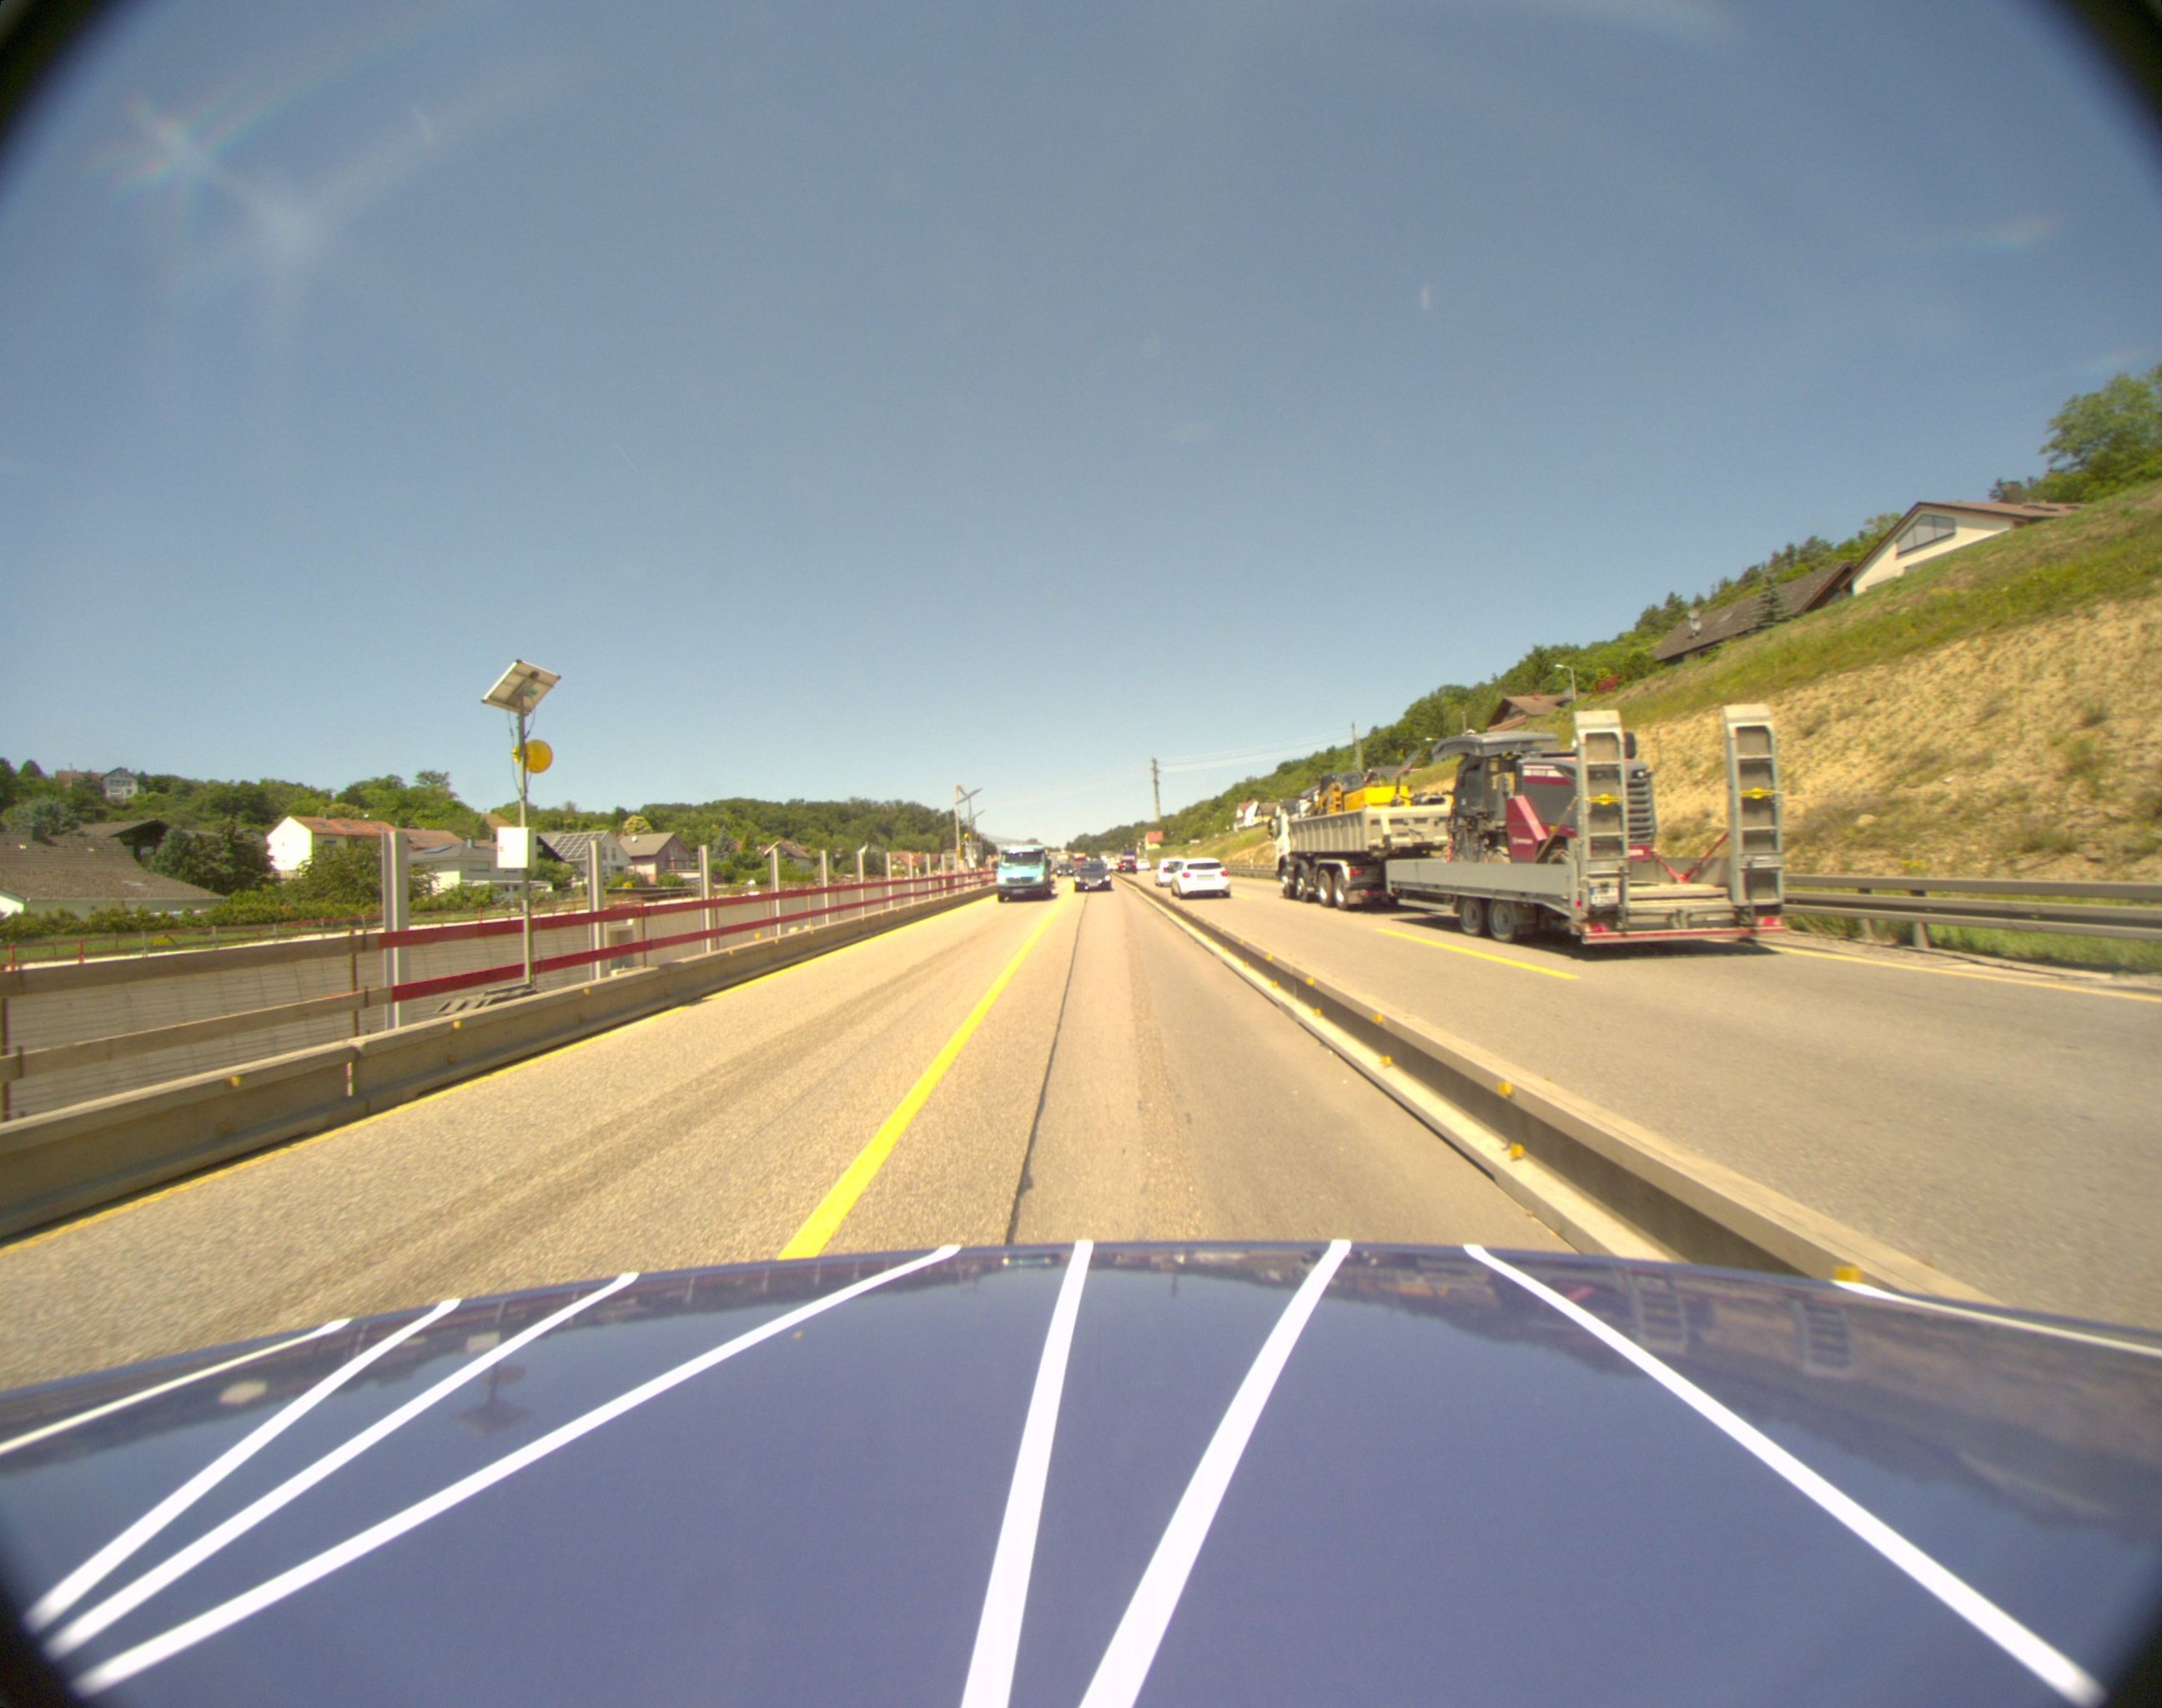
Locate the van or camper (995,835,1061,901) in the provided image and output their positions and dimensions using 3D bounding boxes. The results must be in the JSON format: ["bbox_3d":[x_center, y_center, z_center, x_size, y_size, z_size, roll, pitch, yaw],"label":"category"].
[{"bbox_3d":[-2.165,0.597,33.325,2.097,2.458,7.673,-2,-1,1],"label":"van or camper"}]

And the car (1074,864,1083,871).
[{"bbox_3d":[-0.438,2.689,154.048,1.679,1.346,3.487,-4,-1,1],"label":"car"}]

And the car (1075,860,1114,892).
[{"bbox_3d":[0.657,1.019,36.859,1.746,1.420,4.001,-2,-1,1],"label":"car"}]

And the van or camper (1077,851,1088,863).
[{"bbox_3d":[0.306,0.761,176.399,2.321,2.512,4.528,-4,-1,1],"label":"van or camper"}]

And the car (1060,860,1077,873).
[{"bbox_3d":[-1.336,1.270,79.733,1.611,1.324,3.497,-1,-1,1],"label":"car"}]

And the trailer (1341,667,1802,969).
[{"bbox_3d":[7.572,-0.420,13.861,2.593,3.615,9.079,-2,0,1],"label":"trailer"}]

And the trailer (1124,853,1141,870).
[{"bbox_3d":[6.250,0.895,93.137,1.651,2.013,4.270,-2,0,-1],"label":"trailer"}]

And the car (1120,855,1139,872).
[{"bbox_3d":[5.201,0.977,81.725,1.895,1.698,4.562,-2,0,2],"label":"car"}]

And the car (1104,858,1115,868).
[{"bbox_3d":[5.345,1.724,143.847,1.895,1.698,4.561,-3,0,0],"label":"car"}]

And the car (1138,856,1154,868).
[{"bbox_3d":[9.370,1.132,109.824,1.904,1.575,4.514,-3,0,0],"label":"car"}]

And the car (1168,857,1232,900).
[{"bbox_3d":[4.299,0.853,28.103,1.689,1.421,4.122,-2,0,0],"label":"car"}]

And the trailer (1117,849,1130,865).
[{"bbox_3d":[11.705,0.848,211.481,2.817,4.261,14.036,-3,-1,1],"label":"trailer"}]

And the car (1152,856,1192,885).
[{"bbox_3d":[4.776,0.823,40.084,1.689,1.421,3.292,-2,0,0],"label":"car"}]

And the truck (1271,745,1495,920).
[{"bbox_3d":[7.734,-0.450,21.172,2.593,3.701,9.333,-2,0,1],"label":"truck"}]

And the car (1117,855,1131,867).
[{"bbox_3d":[6.065,1.044,107.596,1.820,1.583,4.290,-3,0,0],"label":"car"}]

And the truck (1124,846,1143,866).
[{"bbox_3d":[11.253,0.481,163.933,3.251,4.135,13.979,-2,0,1],"label":"truck"}]
